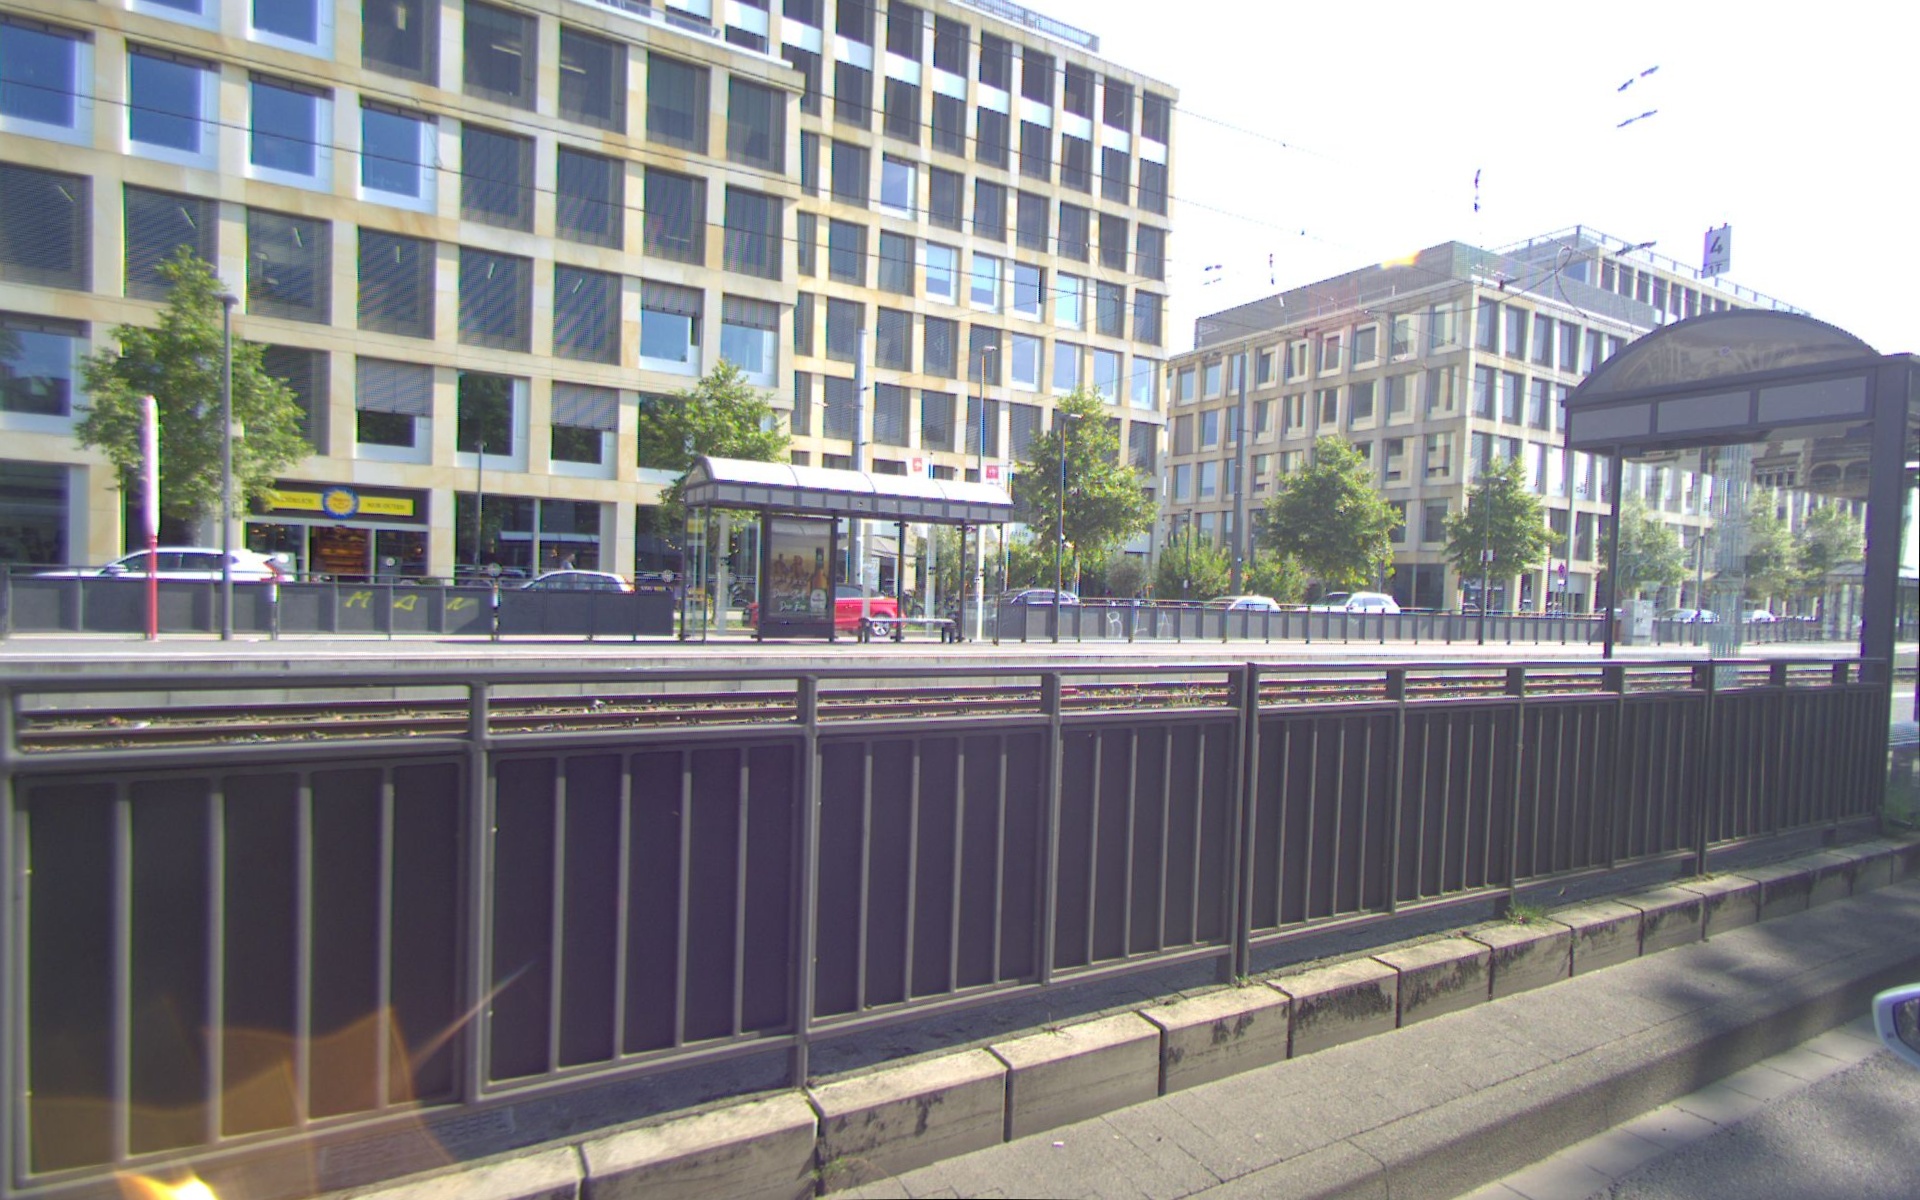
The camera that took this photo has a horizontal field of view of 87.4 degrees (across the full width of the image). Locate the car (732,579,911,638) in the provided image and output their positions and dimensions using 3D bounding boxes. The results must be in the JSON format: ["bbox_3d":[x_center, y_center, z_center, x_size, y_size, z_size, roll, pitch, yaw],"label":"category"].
[{"bbox_3d":[-3.584,0.224,26.282,4.323,1.426,1.675,1,1,-31],"label":"car"}]

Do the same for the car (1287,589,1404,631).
[{"bbox_3d":[14.175,0.371,36.877,4.320,1.426,1.675,1,1,-31],"label":"car"}]

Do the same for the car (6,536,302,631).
[{"bbox_3d":[-15.408,-0.281,19.549,4.273,1.647,1.779,1,1,-33],"label":"car"}]

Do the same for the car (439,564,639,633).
[{"bbox_3d":[-9.502,-0.020,22.737,3.954,1.426,1.780,1,1,-31],"label":"car"}]

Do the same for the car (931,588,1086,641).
[{"bbox_3d":[1.449,0.433,29.442,4.323,1.426,1.675,1,1,-31],"label":"car"}]

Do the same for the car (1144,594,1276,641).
[{"bbox_3d":[8.296,0.598,33.231,4.323,1.426,1.675,1,1,-31],"label":"car"}]
